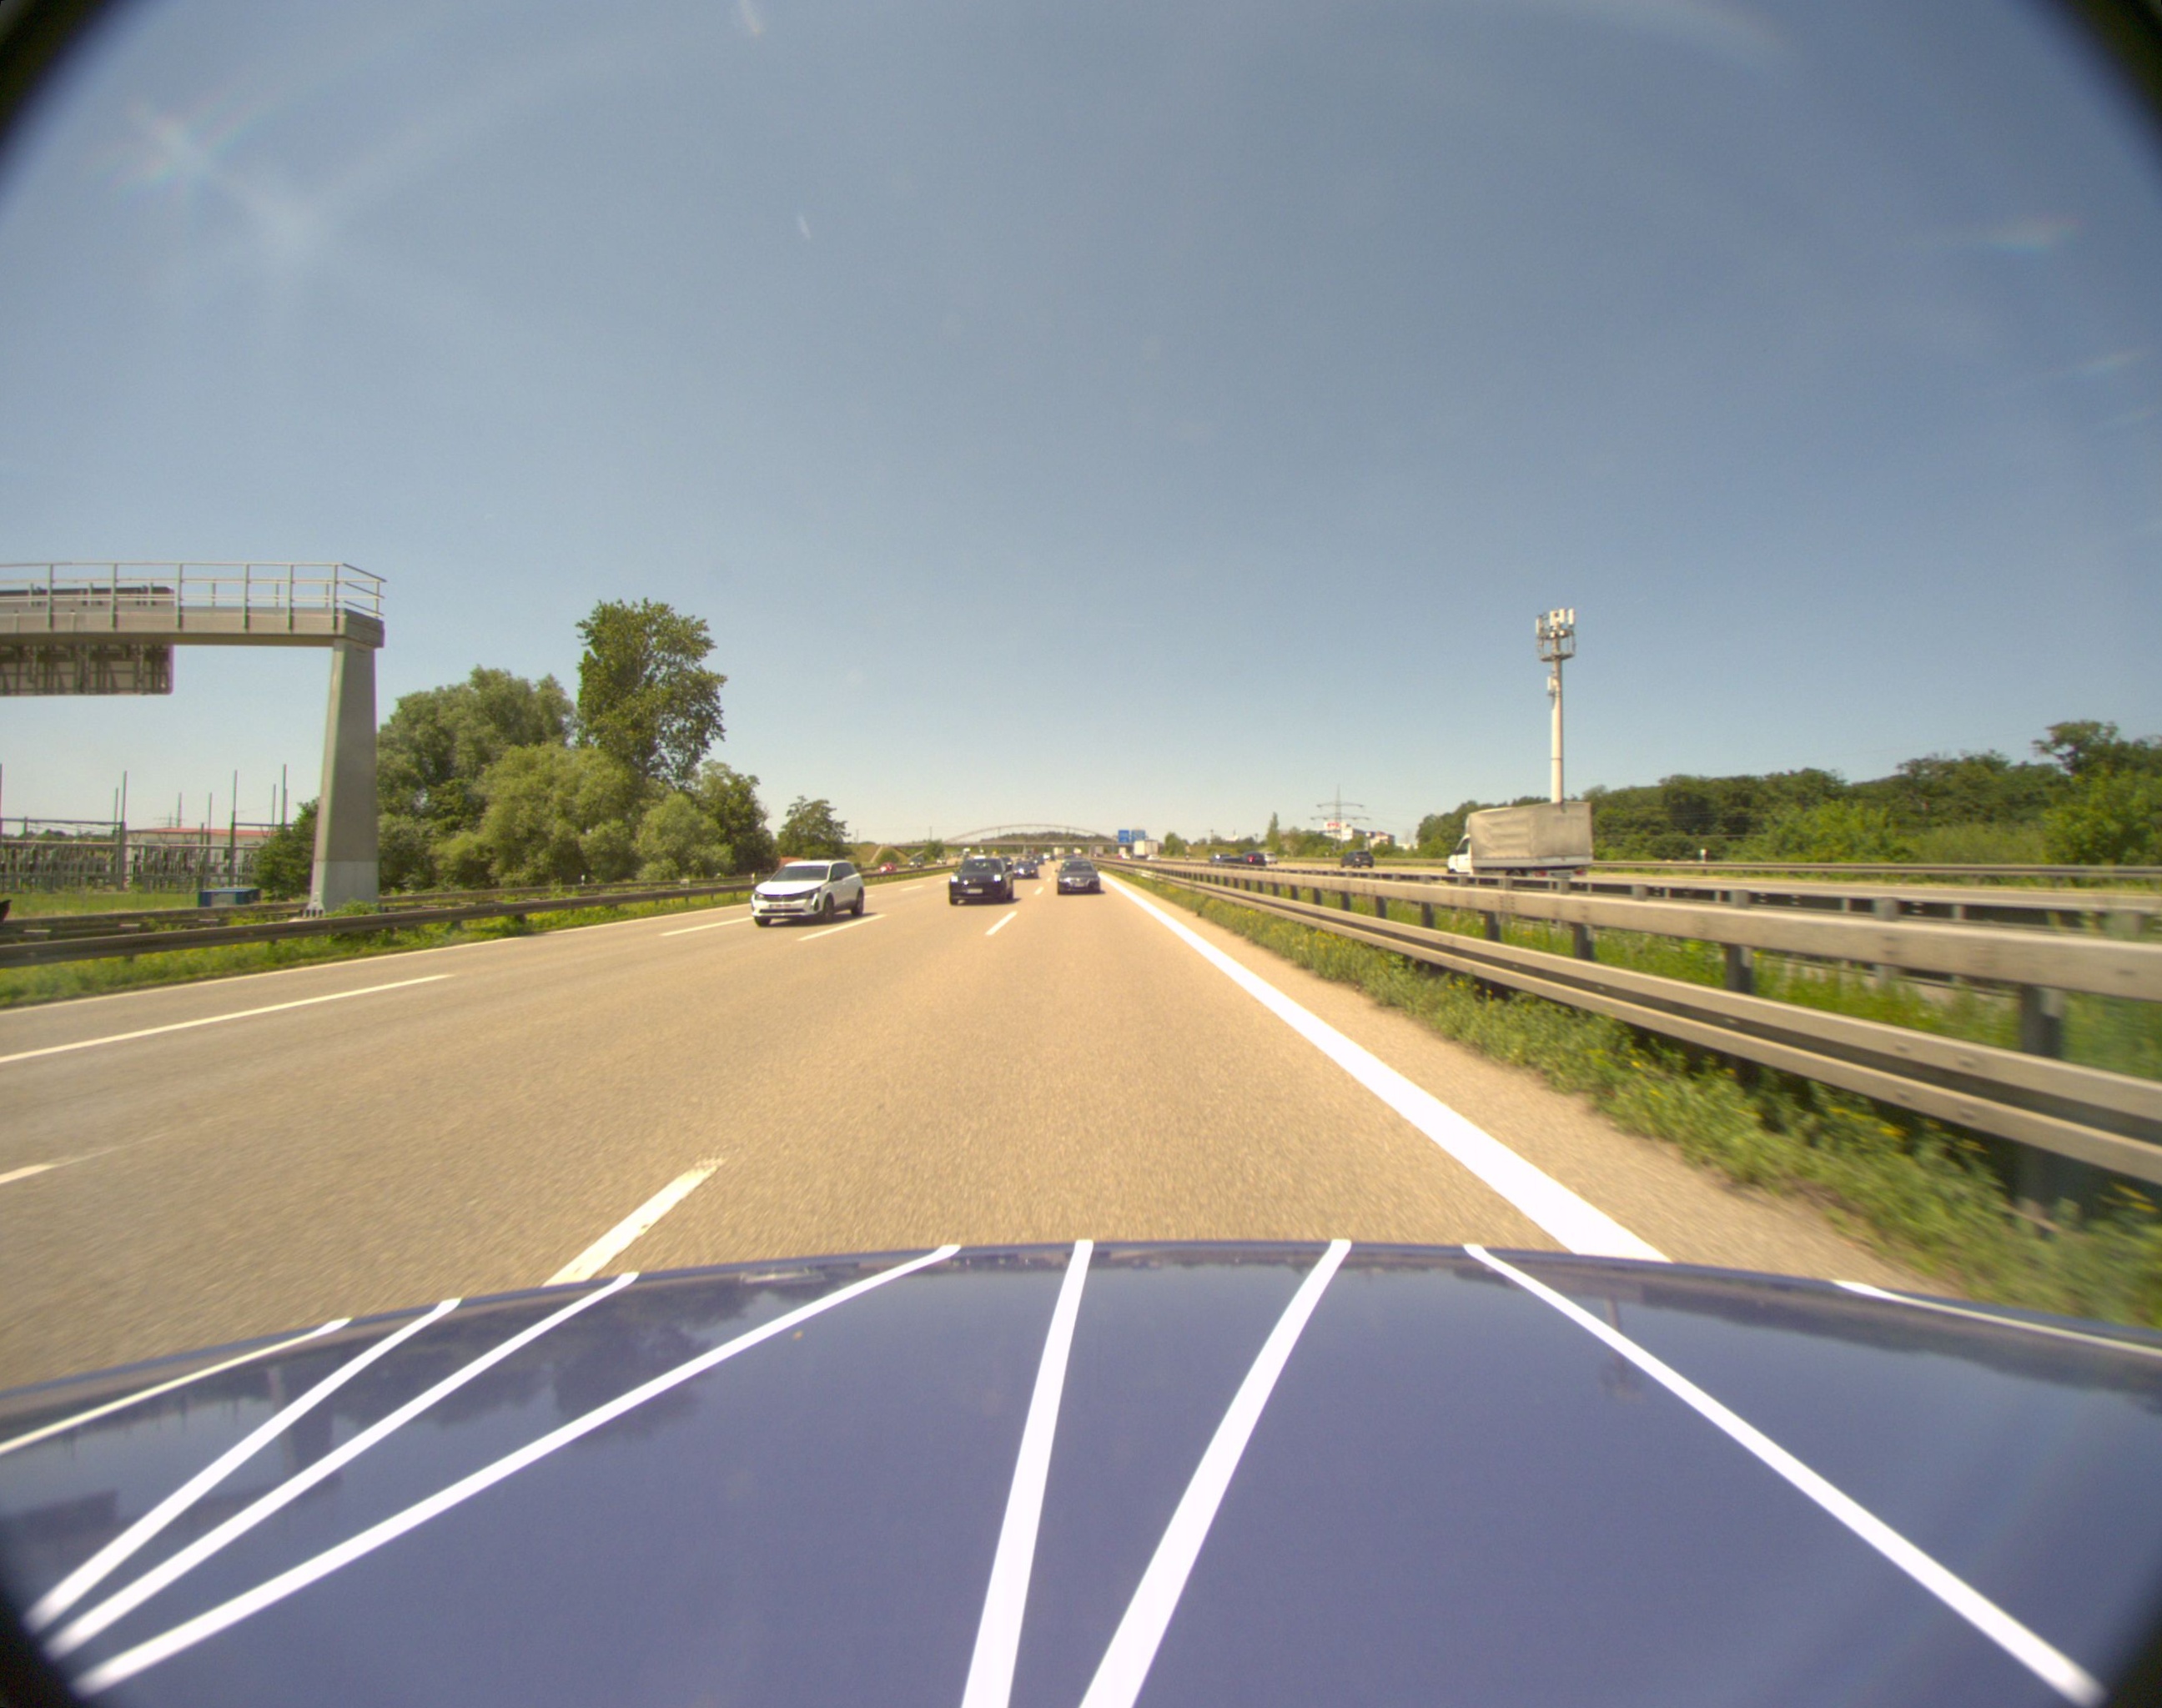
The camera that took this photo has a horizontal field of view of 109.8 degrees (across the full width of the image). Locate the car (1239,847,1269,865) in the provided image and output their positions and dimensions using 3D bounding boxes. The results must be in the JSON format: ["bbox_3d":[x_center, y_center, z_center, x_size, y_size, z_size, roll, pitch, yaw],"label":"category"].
[{"bbox_3d":[16.656,0.138,73.257,1.851,1.646,4.910,-2,0,1],"label":"car"}]

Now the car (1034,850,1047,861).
[{"bbox_3d":[-6.683,0.300,126.654,1.925,1.762,3.999,-1,1,1],"label":"car"}]

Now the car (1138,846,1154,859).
[{"bbox_3d":[8.581,-0.234,100.467,1.679,1.605,4.361,-1,1,0],"label":"car"}]

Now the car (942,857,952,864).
[{"bbox_3d":[-31.028,1.558,175.891,1.704,1.566,4.126,-1,1,-3],"label":"car"}]

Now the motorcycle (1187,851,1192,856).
[{"bbox_3d":[21.032,-0.122,147.243,0.659,1.009,2.487,-1,0,-1],"label":"motorcycle"}]

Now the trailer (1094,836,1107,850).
[{"bbox_3d":[6.155,-3.345,238.177,2.898,4.089,12.581,-2,0,-3],"label":"trailer"}]

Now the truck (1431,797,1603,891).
[{"bbox_3d":[17.009,-0.395,30.368,2.382,3.258,7.659,-1,1,-1],"label":"truck"}]

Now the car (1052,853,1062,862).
[{"bbox_3d":[-5.755,0.821,179.512,1.999,1.849,3.997,-1,1,-5],"label":"car"}]

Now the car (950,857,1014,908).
[{"bbox_3d":[-3.473,0.962,27.333,1.932,1.586,4.130,-1,1,-3],"label":"car"}]

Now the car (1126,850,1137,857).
[{"bbox_3d":[10.147,-0.099,152.762,1.746,1.480,4.007,-2,0,0],"label":"car"}]

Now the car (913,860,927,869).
[{"bbox_3d":[-28.379,1.816,133.899,1.704,1.566,4.127,-1,1,-1],"label":"car"}]

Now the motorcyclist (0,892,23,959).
[{"bbox_3d":[-22.764,1.498,15.644,0.670,1.358,0.878,-1,1,3],"label":"motorcyclist"}]

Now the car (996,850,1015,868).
[{"bbox_3d":[-8.715,0.525,87.941,1.808,1.908,4.294,-1,1,0],"label":"car"}]

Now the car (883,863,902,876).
[{"bbox_3d":[-26.080,2.118,105.143,1.704,1.566,4.127,-1,1,-1],"label":"car"}]

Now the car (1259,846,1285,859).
[{"bbox_3d":[23.601,-0.184,94.006,2.110,1.523,4.371,-2,0,-1],"label":"car"}]

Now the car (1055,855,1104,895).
[{"bbox_3d":[-0.036,0.855,32.886,1.931,1.499,4.391,-1,1,1],"label":"car"}]

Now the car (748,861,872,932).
[{"bbox_3d":[-7.197,1.061,20.718,1.748,1.582,4.619,-1,1,-1],"label":"car"}]

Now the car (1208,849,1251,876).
[{"bbox_3d":[9.673,0.534,49.864,1.752,1.616,4.830,-1,1,-1],"label":"car"}]

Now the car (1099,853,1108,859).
[{"bbox_3d":[6.143,0.479,209.664,1.999,1.635,4.662,-1,0,-2],"label":"car"}]

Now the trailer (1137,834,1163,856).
[{"bbox_3d":[13.615,-1.731,150.806,3.044,4.216,12.242,-2,0,-4],"label":"trailer"}]

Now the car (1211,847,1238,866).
[{"bbox_3d":[12.890,0.202,68.418,1.679,1.616,4.085,-1,1,0],"label":"car"}]

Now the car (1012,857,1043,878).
[{"bbox_3d":[-3.979,0.975,56.756,1.931,1.390,4.117,-1,1,1],"label":"car"}]

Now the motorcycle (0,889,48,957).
[{"bbox_3d":[-22.790,1.467,15.505,0.762,1.358,1.869,-1,1,2],"label":"motorcycle"}]

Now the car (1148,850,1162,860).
[{"bbox_3d":[11.279,0.163,116.053,1.661,1.395,4.759,-2,0,1],"label":"car"}]

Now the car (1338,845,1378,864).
[{"bbox_3d":[24.600,0.029,67.600,1.852,1.523,4.222,-2,0,-2],"label":"car"}]

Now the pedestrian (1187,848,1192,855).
[{"bbox_3d":[21.022,-0.429,147.171,0.652,1.309,1.035,-1,1,-1],"label":"pedestrian"}]
